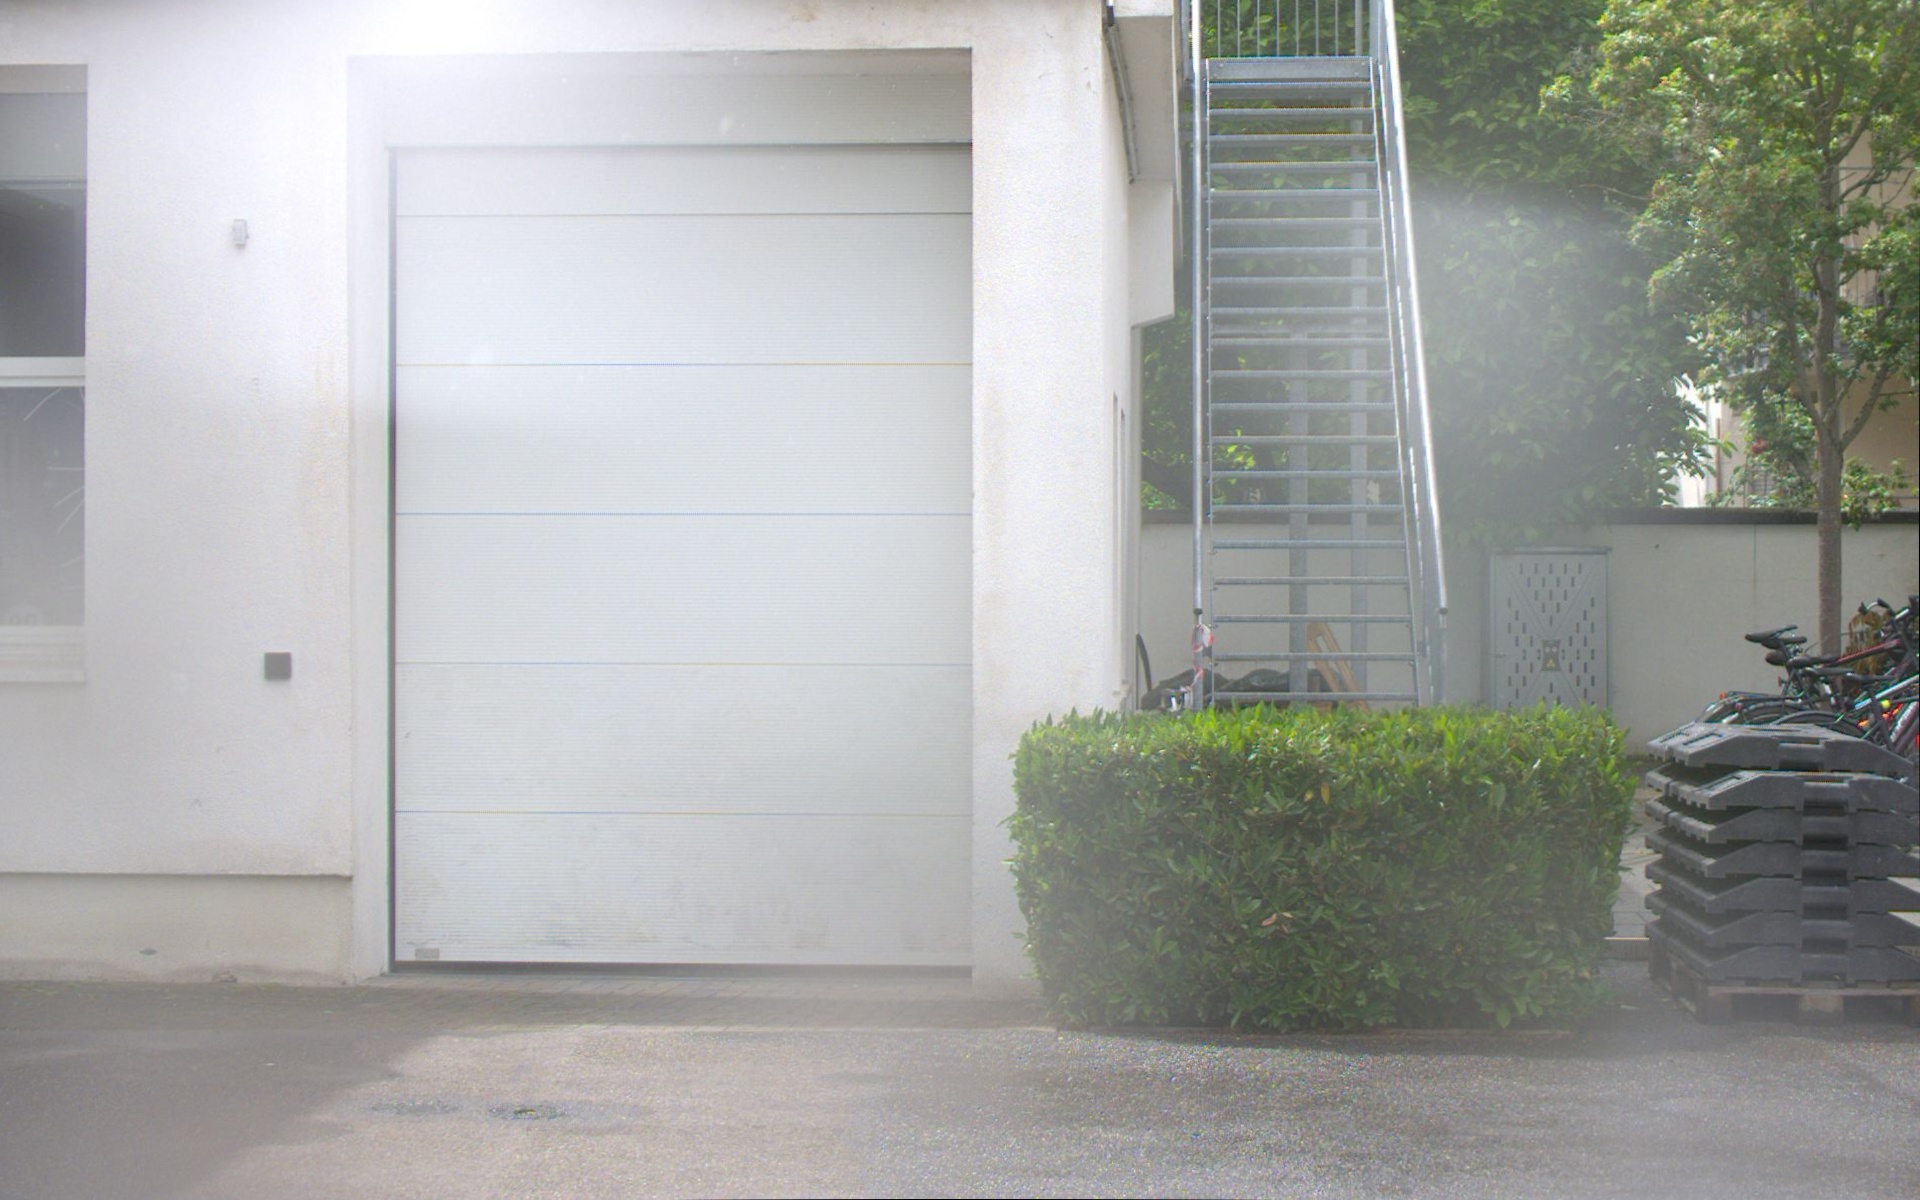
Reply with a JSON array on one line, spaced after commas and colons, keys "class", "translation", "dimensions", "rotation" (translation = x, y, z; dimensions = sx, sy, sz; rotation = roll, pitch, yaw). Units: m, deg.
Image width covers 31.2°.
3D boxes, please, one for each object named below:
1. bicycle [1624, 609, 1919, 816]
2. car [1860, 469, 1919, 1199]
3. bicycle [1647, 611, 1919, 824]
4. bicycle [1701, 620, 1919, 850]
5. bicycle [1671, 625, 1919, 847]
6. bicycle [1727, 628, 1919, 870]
[{"class": "bicycle", "translation": [5.216, 0.636, 19.218], "dimensions": [2.843, 1.074, 0.689], "rotation": [2, 1, 1]}, {"class": "car", "translation": [4.722, 0.559, 7.858], "dimensions": [4.709, 1.827, 2.111], "rotation": [-1, 1, -3]}, {"class": "bicycle", "translation": [5.205, 0.643, 18.510], "dimensions": [2.843, 1.074, 0.689], "rotation": [2, 1, 1]}, {"class": "bicycle", "translation": [5.190, 0.684, 17.073], "dimensions": [2.843, 1.074, 0.689], "rotation": [2, 1, 1]}, {"class": "bicycle", "translation": [5.191, 0.717, 17.797], "dimensions": [2.843, 1.074, 0.689], "rotation": [2, 1, 1]}, {"class": "bicycle", "translation": [5.178, 0.720, 16.238], "dimensions": [2.923, 1.074, 0.689], "rotation": [2, 1, 1]}]
